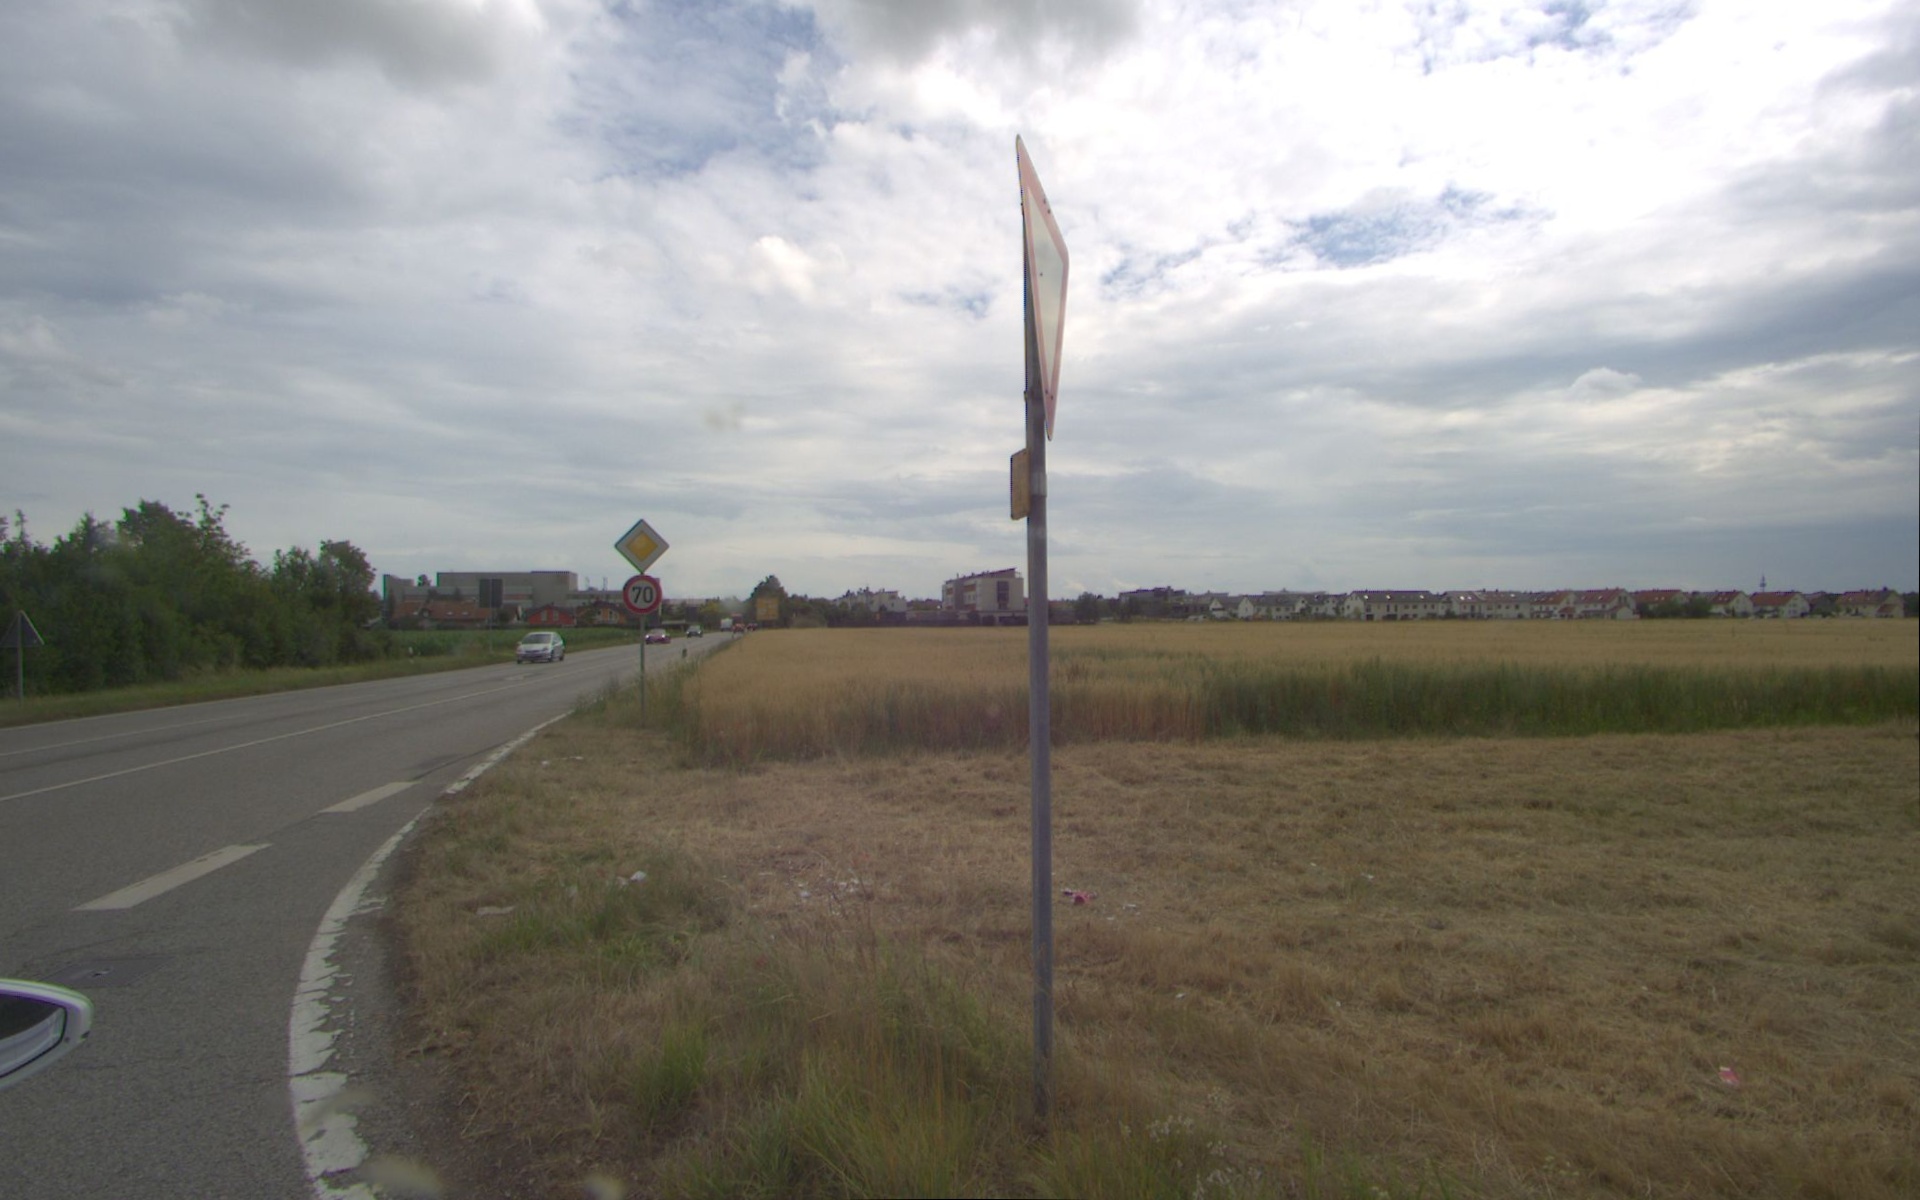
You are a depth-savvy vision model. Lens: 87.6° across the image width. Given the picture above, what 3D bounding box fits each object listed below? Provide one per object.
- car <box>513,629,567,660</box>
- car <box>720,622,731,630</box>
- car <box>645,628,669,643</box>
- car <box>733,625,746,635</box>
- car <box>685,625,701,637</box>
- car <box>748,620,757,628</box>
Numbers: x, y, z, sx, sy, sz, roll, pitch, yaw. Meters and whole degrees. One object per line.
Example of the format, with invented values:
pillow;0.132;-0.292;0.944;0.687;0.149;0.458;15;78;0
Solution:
car;-21.078;2.200;50.402;1.703;1.450;3.932;-2;-1;-11
car;-47.414;5.280;202.673;1.962;1.721;4.673;0;-1;-10
car;-27.457;3.198;90.816;1.744;1.257;4.208;-1;-1;-12
car;-37.138;5.058;168.526;1.828;1.586;3.999;0;-1;-8
car;-33.935;3.897;127.491;1.643;1.447;4.300;-2;-1;-11
car;-46.502;5.348;224.583;1.828;1.750;3.999;0;-1;-8
